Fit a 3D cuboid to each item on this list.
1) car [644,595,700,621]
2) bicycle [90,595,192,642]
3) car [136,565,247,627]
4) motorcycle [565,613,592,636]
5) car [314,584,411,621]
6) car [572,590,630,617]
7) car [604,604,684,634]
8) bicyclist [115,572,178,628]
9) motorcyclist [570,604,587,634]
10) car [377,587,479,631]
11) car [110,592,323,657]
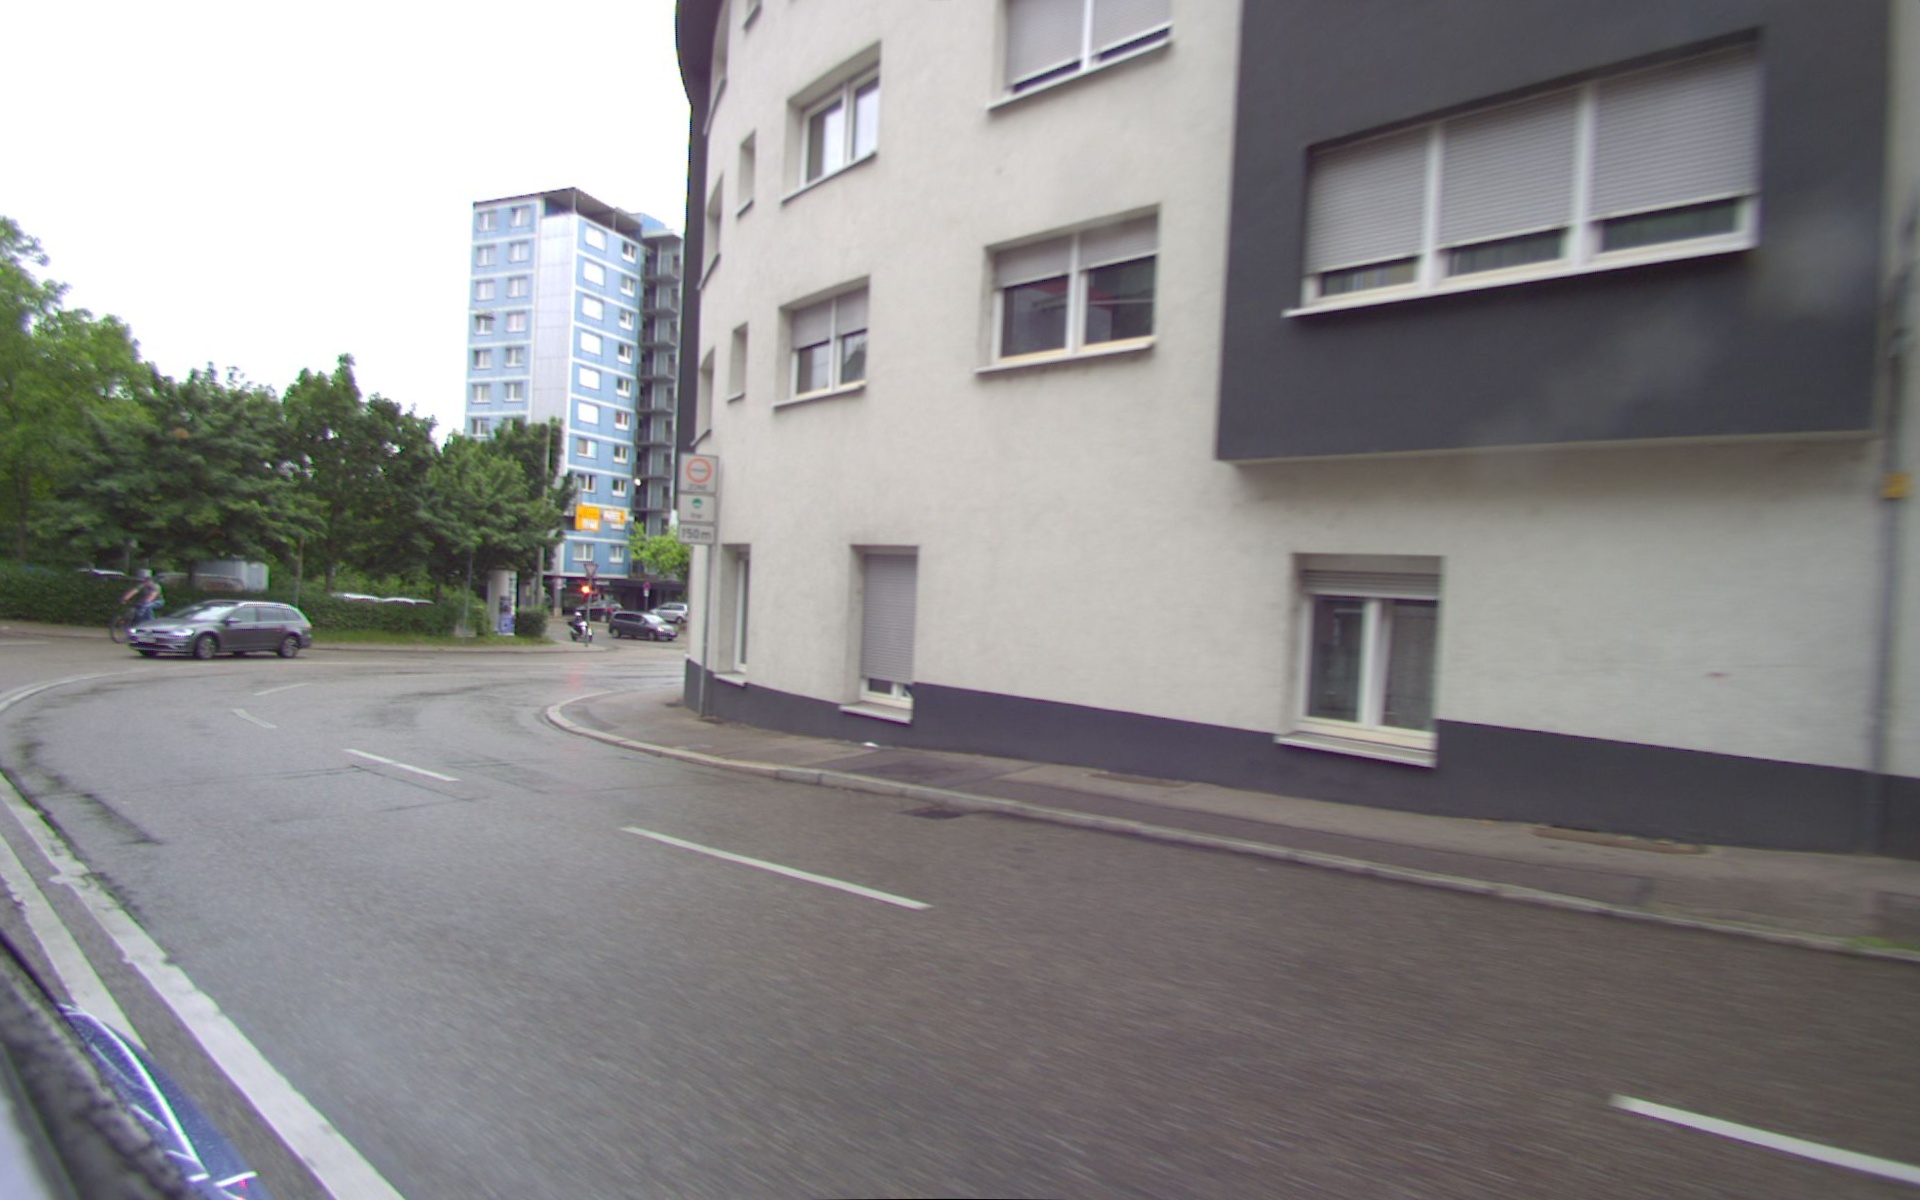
[{"bbox_3d":[-23.118,0.633,81.194,4.162,1.678,1.637,5,1,24],"label":"car"},{"bbox_3d":[-23.479,0.544,29.078,0.879,1.196,2.125,5,-2,12],"label":"bicycle"},{"bbox_3d":[-28.439,-0.160,37.427,4.196,1.975,1.620,2,-4,31],"label":"car"},{"bbox_3d":[-21.859,1.395,57.929,1.799,1.115,0.610,4,5,40],"label":"motorcycle"},{"bbox_3d":[-30.734,0.166,52.216,1.788,1.521,3.971,3,-4,21],"label":"car"},{"bbox_3d":[-27.782,0.271,78.255,4.162,1.678,1.637,5,1,24],"label":"car"},{"bbox_3d":[-18.834,1.091,60.375,4.237,1.521,1.794,1,4,13],"label":"car"},{"bbox_3d":[-23.419,0.000,29.150,0.880,1.500,0.965,5,-2,12],"label":"bicyclist"},{"bbox_3d":[-21.823,1.070,57.877,0.650,1.673,0.610,4,5,40],"label":"motorcyclist"},{"bbox_3d":[-24.344,0.410,46.341,4.181,1.633,1.626,3,-4,20],"label":"car"},{"bbox_3d":[-19.099,0.628,26.297,1.670,1.516,4.485,1,-1,12],"label":"car"}]
